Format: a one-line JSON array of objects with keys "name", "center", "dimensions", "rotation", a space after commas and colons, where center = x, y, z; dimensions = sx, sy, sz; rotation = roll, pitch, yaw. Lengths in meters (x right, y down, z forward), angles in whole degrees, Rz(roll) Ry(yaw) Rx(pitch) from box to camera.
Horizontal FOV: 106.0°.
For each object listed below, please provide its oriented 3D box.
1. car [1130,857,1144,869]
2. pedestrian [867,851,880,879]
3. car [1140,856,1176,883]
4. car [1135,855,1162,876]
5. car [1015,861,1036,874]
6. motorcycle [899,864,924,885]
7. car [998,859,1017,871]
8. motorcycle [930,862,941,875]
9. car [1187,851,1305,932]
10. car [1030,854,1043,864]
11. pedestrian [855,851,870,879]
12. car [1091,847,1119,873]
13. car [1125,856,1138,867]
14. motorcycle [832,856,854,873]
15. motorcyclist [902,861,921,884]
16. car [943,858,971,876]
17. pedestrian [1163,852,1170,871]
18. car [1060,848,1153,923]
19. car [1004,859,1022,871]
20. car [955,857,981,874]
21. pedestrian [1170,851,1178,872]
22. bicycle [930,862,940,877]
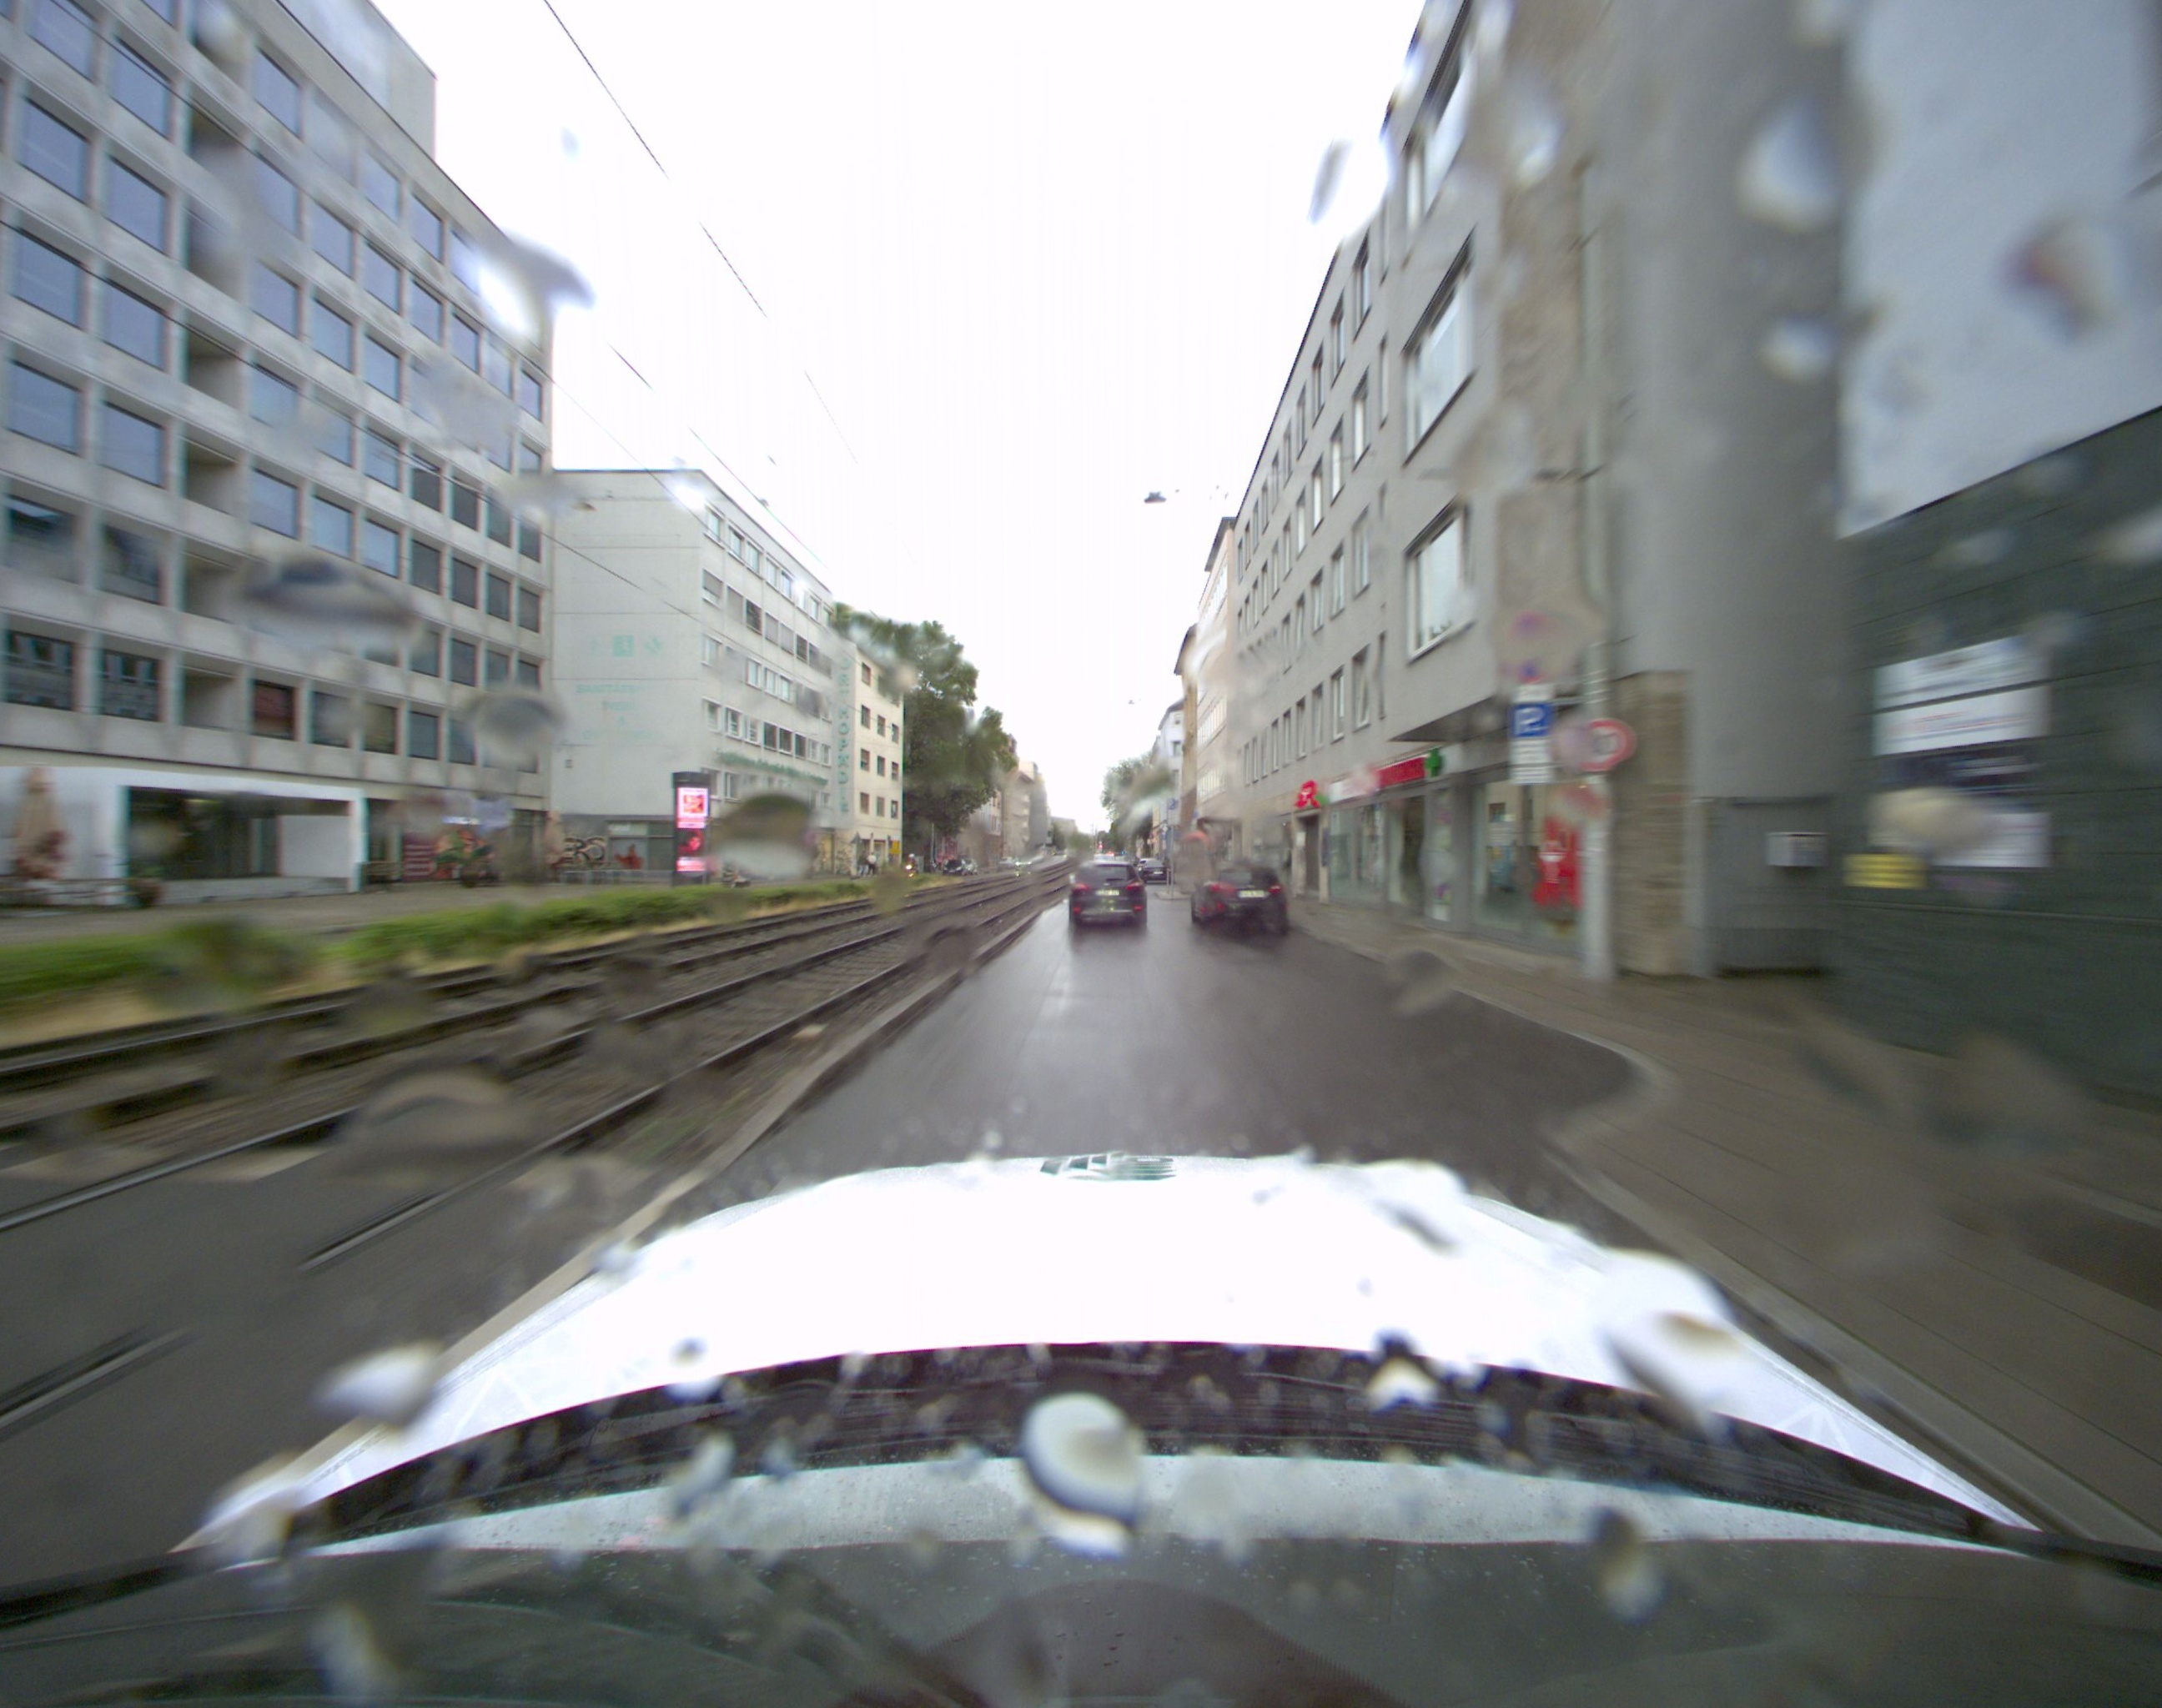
[{"name": "car", "center": [7.742, 1.237, 112.842], "dimensions": [1.732, 1.489, 4.001], "rotation": [0, 0, 1]}, {"name": "pedestrian", "center": [-14.239, 0.743, 55.911], "dimensions": [0.676, 1.896, 0.743], "rotation": [1, -1, 2]}, {"name": "car", "center": [4.625, 0.953, 49.624], "dimensions": [1.985, 1.594, 4.574], "rotation": [0, -1, 3]}, {"name": "car", "center": [5.043, 0.852, 61.302], "dimensions": [1.739, 1.523, 4.356], "rotation": [0, 0, 2]}, {"name": "car", "center": [-6.647, 1.589, 97.769], "dimensions": [1.986, 1.519, 4.446], "rotation": [1, -1, 2]}, {"name": "motorcycle", "center": [-8.900, 1.069, 42.825], "dimensions": [0.739, 1.060, 1.933], "rotation": [1, -1, 4]}, {"name": "car", "center": [-9.500, 1.375, 105.610], "dimensions": [1.986, 1.519, 4.437], "rotation": [1, -1, 2]}, {"name": "motorcycle", "center": [-14.884, 1.487, 83.312], "dimensions": [0.637, 1.379, 2.119], "rotation": [1, -1, 1]}, {"name": "car", "center": [3.570, 0.803, 18.396], "dimensions": [1.985, 1.594, 4.273], "rotation": [0, -1, 3]}, {"name": "car", "center": [-7.885, 0.920, 144.944], "dimensions": [1.986, 1.839, 5.071], "rotation": [1, -1, 1]}, {"name": "pedestrian", "center": [-14.988, 0.726, 55.891], "dimensions": [0.724, 1.896, 0.983], "rotation": [1, -1, 2]}, {"name": "car", "center": [1.800, 0.486, 60.840], "dimensions": [1.985, 1.816, 4.273], "rotation": [0, -1, 3]}, {"name": "car", "center": [7.290, 1.112, 117.416], "dimensions": [1.637, 1.516, 4.040], "rotation": [0, 0, 1]}, {"name": "motorcycle", "center": [-16.829, 0.725, 57.604], "dimensions": [1.472, 1.180, 0.386], "rotation": [1, -1, 0]}, {"name": "motorcyclist", "center": [-8.900, 0.970, 42.838], "dimensions": [0.738, 1.217, 0.971], "rotation": [1, -1, 4]}, {"name": "car", "center": [-10.985, 1.142, 72.489], "dimensions": [1.737, 1.469, 4.221], "rotation": [-1, -1, 2]}, {"name": "pedestrian", "center": [8.292, 0.716, 78.884], "dimensions": [0.659, 1.852, 0.821], "rotation": [0, 0, 1]}, {"name": "car", "center": [0.648, 0.727, 19.675], "dimensions": [1.985, 1.594, 4.273], "rotation": [0, -1, 3]}, {"name": "car", "center": [-9.224, 1.520, 110.528], "dimensions": [1.986, 1.519, 4.211], "rotation": [1, -1, 2]}, {"name": "car", "center": [-10.715, 1.118, 77.433], "dimensions": [1.715, 1.570, 4.221], "rotation": [1, -1, 2]}, {"name": "pedestrian", "center": [9.024, 0.743, 78.876], "dimensions": [0.733, 2.013, 0.821], "rotation": [0, 0, 1]}, {"name": "bicycle", "center": [-12.518, 1.336, 69.688], "dimensions": [0.590, 1.227, 2.399], "rotation": [1, -1, -5]}]
